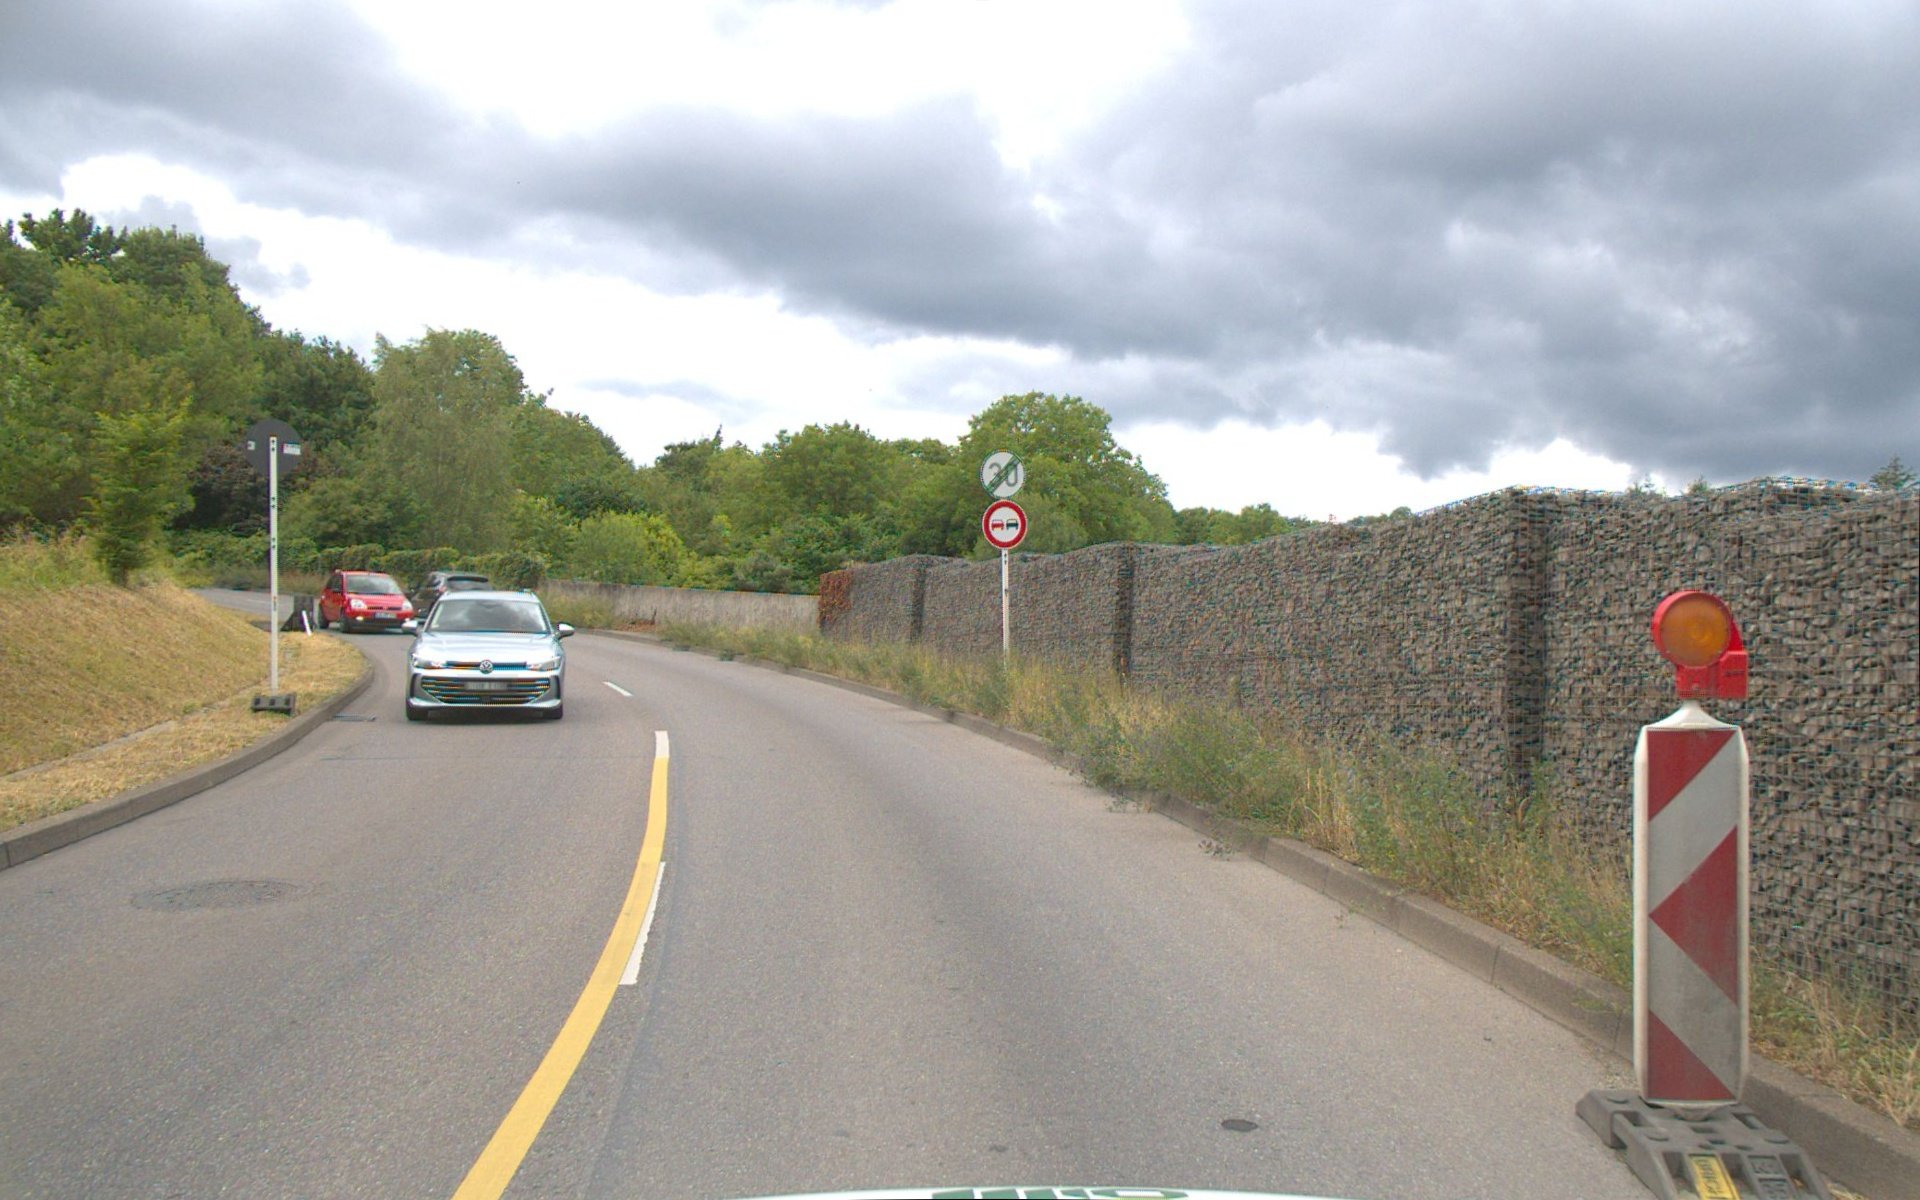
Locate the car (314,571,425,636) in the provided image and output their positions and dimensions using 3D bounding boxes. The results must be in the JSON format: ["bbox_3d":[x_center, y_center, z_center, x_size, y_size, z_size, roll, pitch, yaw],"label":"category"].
[{"bbox_3d":[-14.853,0.065,41.500,1.726,1.441,3.709,2,1,-35],"label":"car"}]

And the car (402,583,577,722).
[{"bbox_3d":[-5.815,0.560,20.884,1.849,1.503,4.587,0,1,-13],"label":"car"}]

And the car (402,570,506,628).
[{"bbox_3d":[-14.216,-0.062,46.336,1.822,1.509,3.956,0,1,-32],"label":"car"}]
